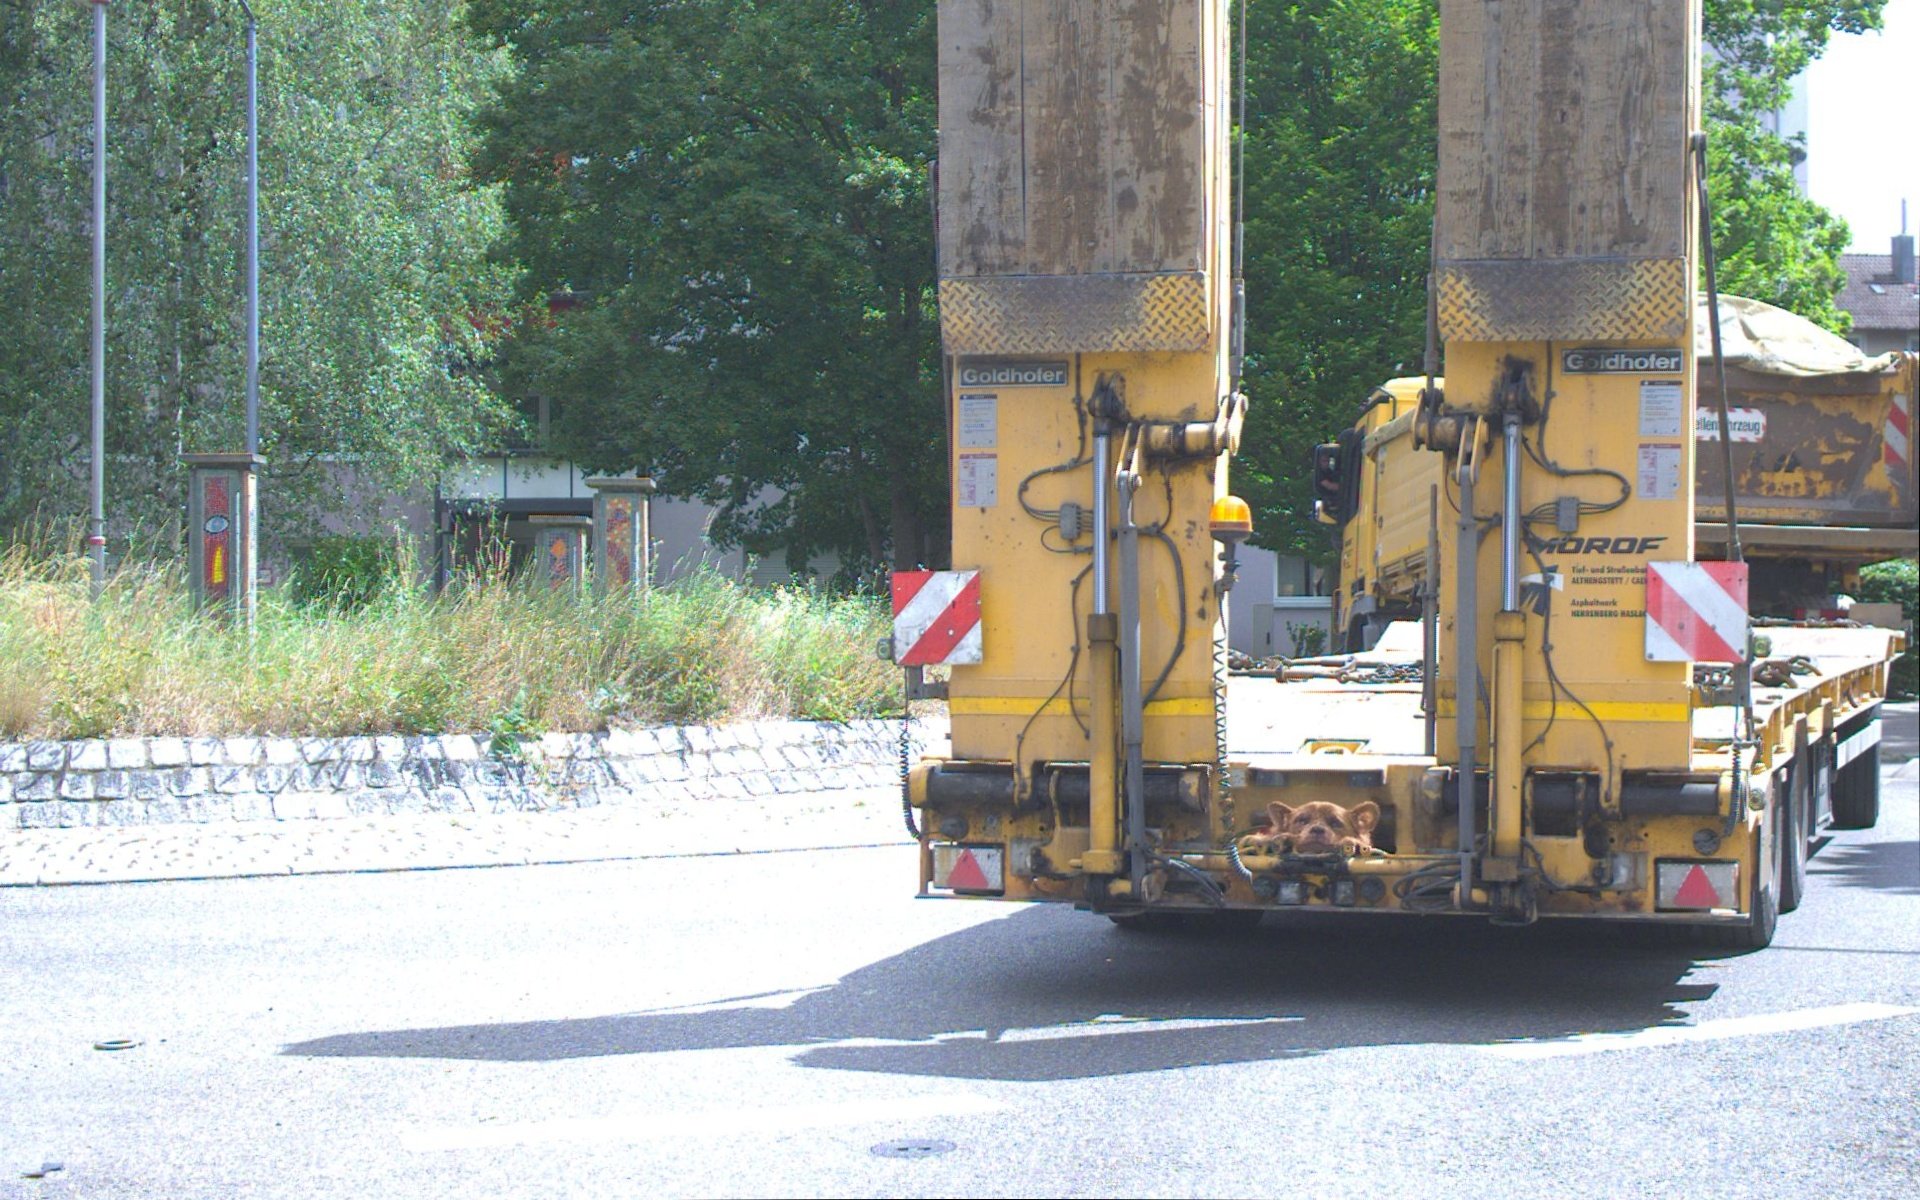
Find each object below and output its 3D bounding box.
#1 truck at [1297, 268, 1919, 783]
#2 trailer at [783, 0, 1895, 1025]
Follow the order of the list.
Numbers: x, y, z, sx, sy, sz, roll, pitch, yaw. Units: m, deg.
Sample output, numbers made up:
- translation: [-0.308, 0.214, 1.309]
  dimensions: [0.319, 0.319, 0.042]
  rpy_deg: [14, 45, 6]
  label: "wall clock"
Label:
- translation: [4.425, -0.294, 24.669]
  dimensions: [2.988, 3.025, 8.485]
  rpy_deg: [1, -2, -1]
  label: "truck"
- translation: [2.434, -0.557, 15.116]
  dimensions: [2.866, 3.361, 10.832]
  rpy_deg: [1, 1, 17]
  label: "trailer"
